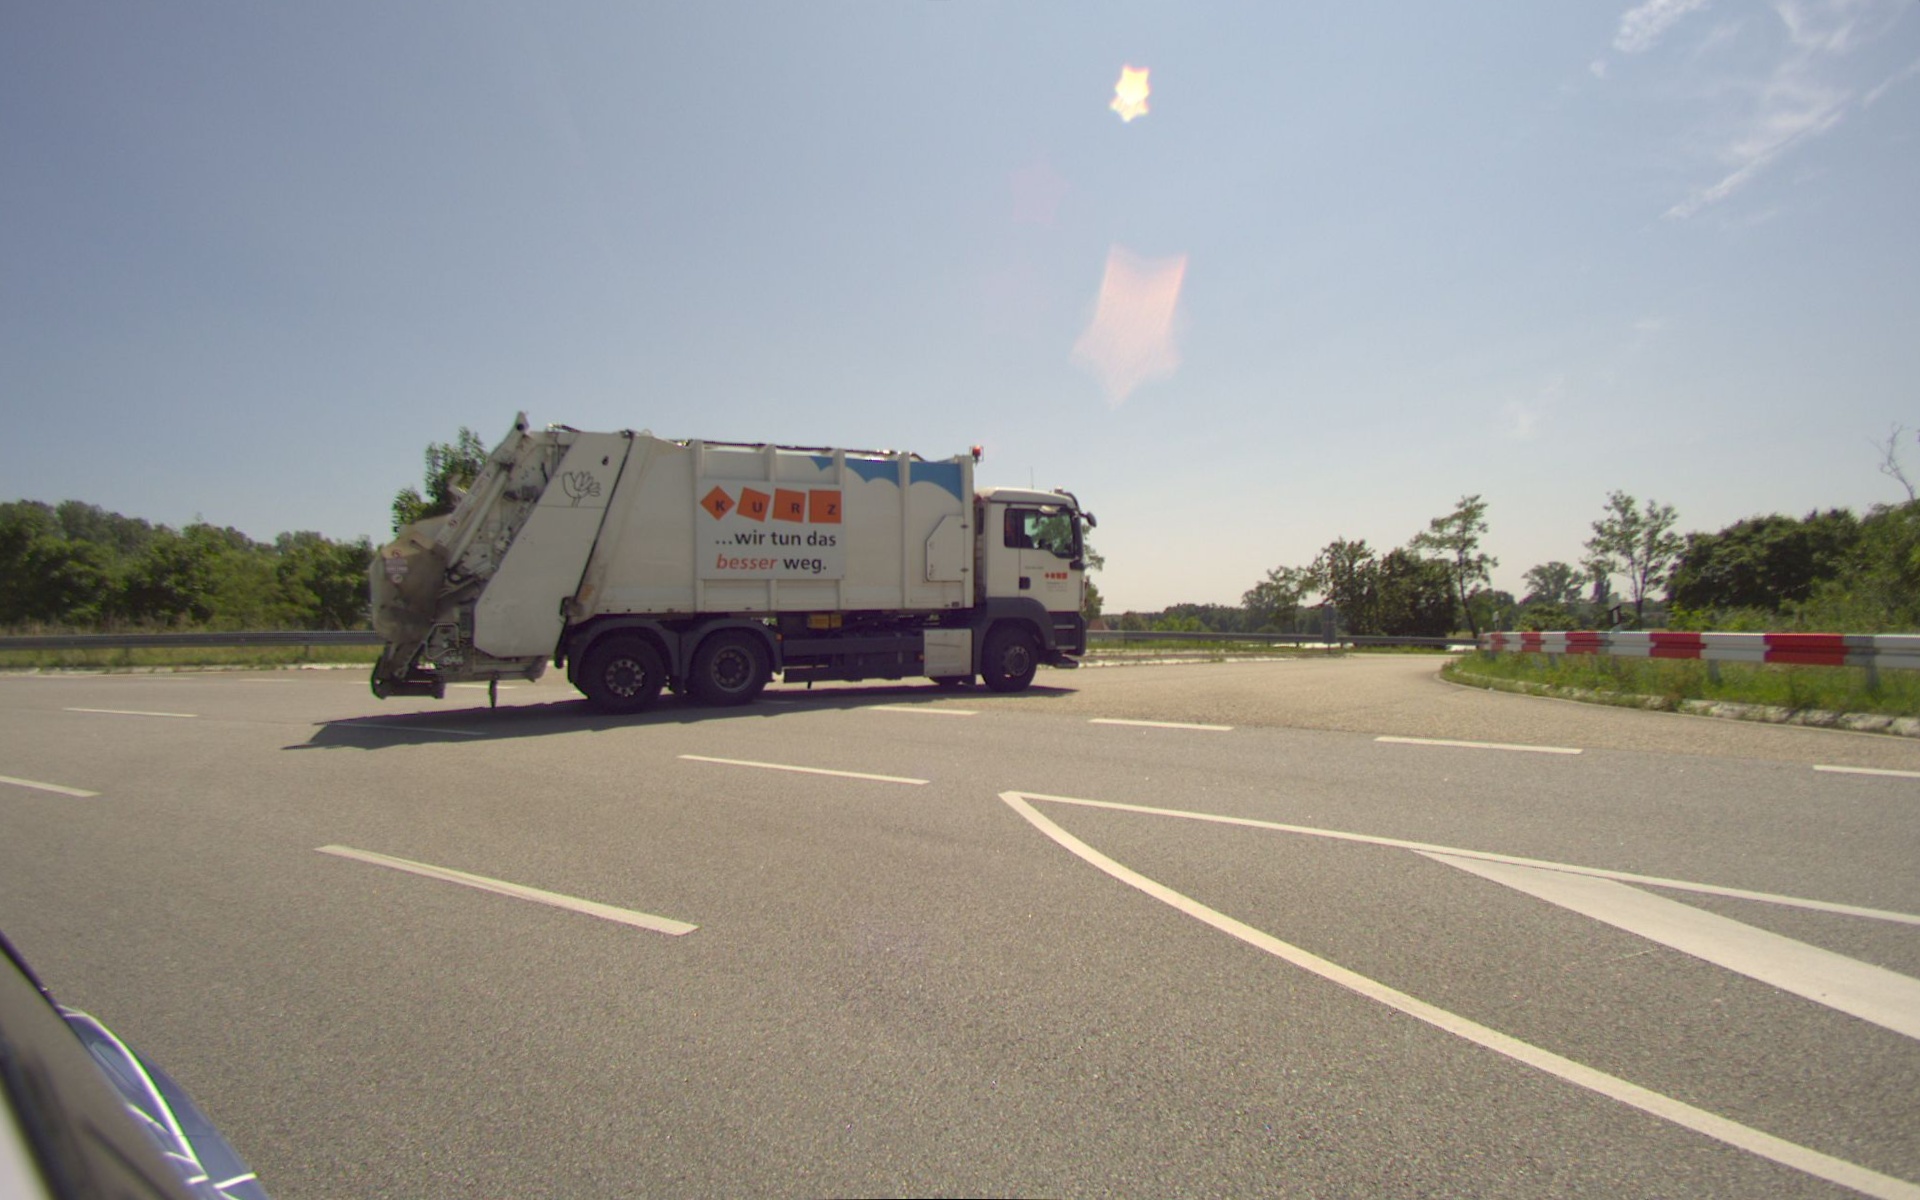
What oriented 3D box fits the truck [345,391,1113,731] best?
[{"bbox_3d":[-2.804,-0.502,14.326,9.775,3.697,2.831,-1,-1,-25],"label":"truck"}]
